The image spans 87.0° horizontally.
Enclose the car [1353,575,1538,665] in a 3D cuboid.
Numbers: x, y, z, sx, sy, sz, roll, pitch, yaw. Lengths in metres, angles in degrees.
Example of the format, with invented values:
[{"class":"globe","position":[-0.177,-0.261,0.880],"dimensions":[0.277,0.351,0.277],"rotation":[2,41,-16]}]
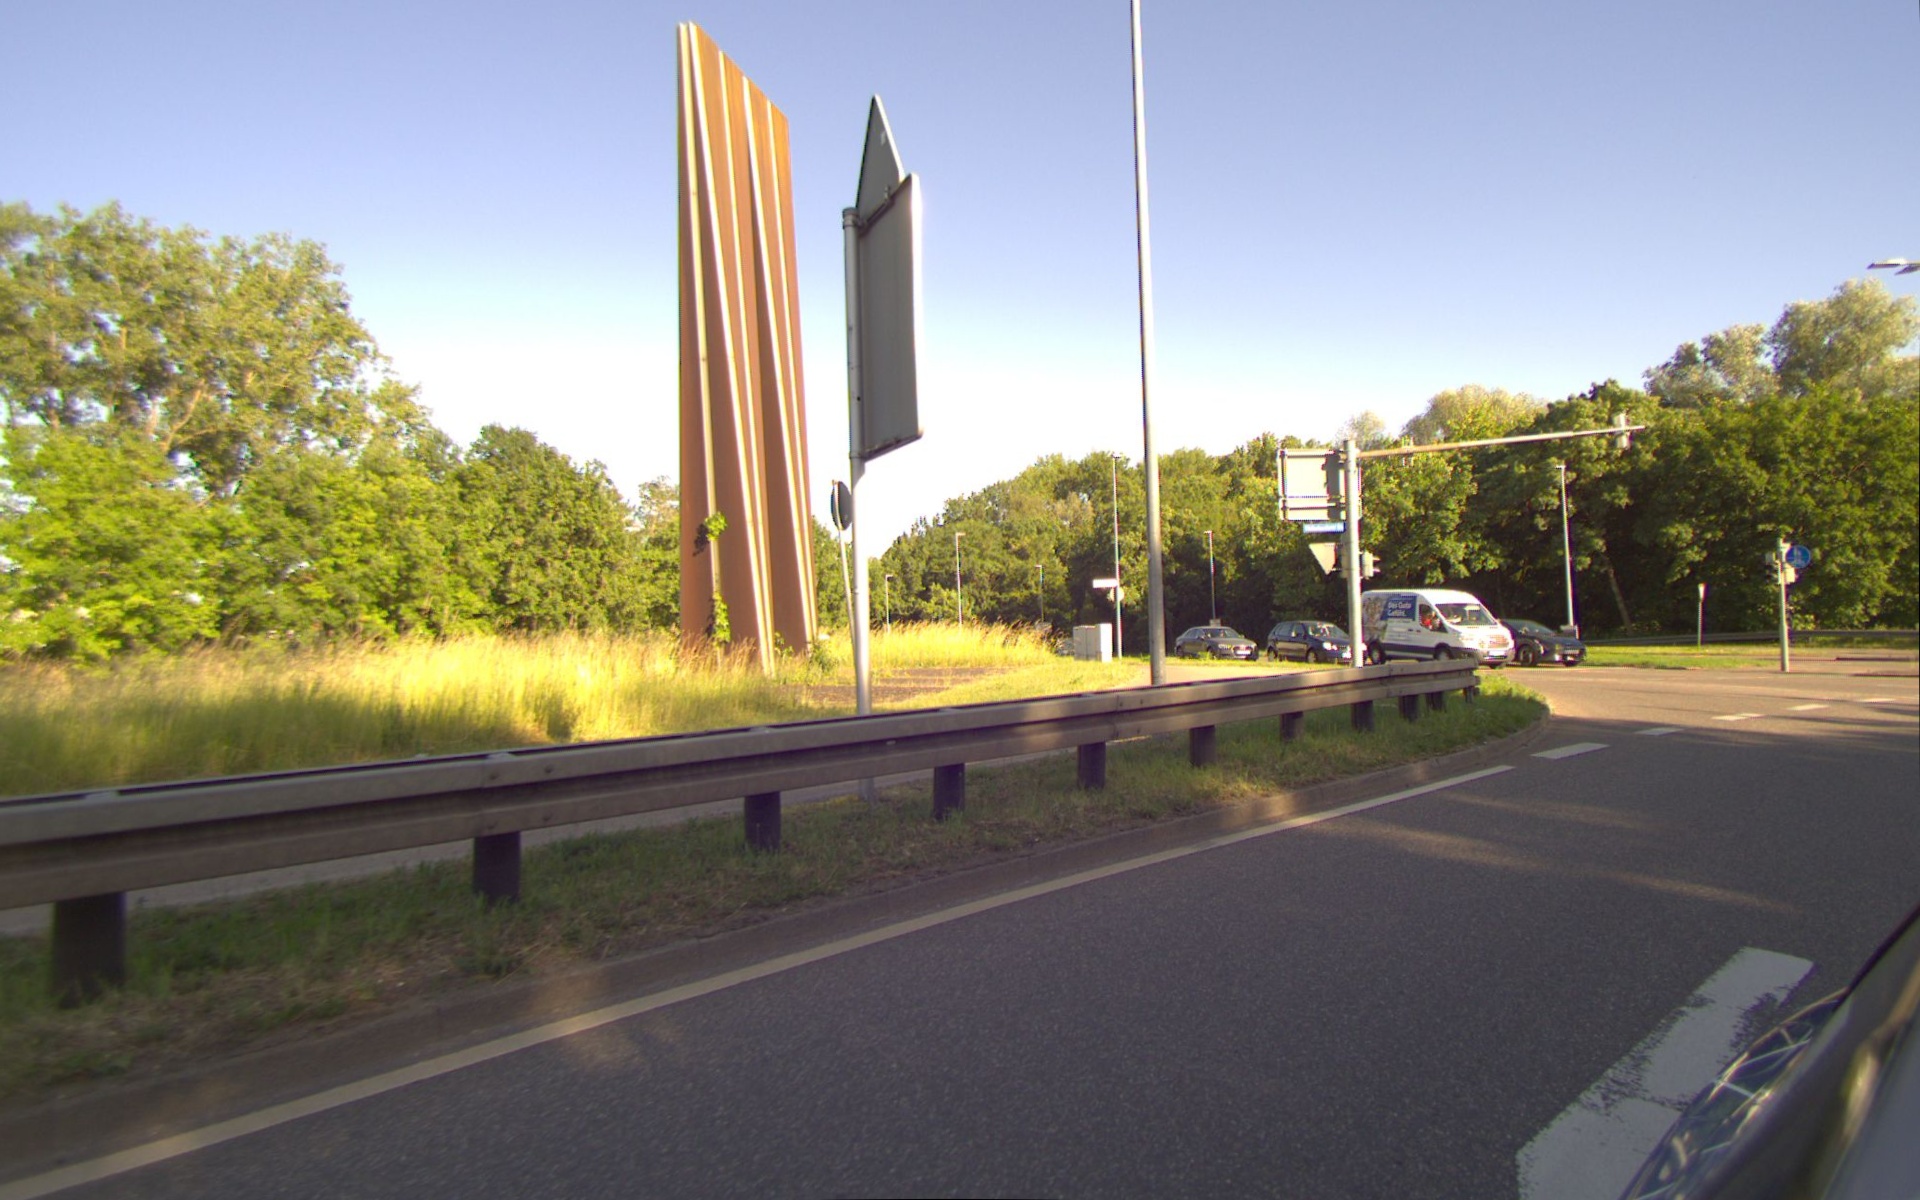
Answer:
[{"class":"car","position":[14.885,0.654,31.545],"dimensions":[2.071,2.532,5.714],"rotation":[0,-2,-12]}]

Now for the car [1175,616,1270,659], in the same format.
[{"class":"car","position":[9.727,1.361,37.858],"dimensions":[1.613,1.408,4.298],"rotation":[0,0,-13]}]

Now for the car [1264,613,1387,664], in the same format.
[{"class":"car","position":[11.285,1.150,31.561],"dimensions":[1.806,1.431,3.995],"rotation":[0,0,-11]}]

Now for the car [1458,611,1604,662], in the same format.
[{"class":"car","position":[18.164,1.122,32.435],"dimensions":[1.732,1.458,4.096],"rotation":[0,0,-14]}]
